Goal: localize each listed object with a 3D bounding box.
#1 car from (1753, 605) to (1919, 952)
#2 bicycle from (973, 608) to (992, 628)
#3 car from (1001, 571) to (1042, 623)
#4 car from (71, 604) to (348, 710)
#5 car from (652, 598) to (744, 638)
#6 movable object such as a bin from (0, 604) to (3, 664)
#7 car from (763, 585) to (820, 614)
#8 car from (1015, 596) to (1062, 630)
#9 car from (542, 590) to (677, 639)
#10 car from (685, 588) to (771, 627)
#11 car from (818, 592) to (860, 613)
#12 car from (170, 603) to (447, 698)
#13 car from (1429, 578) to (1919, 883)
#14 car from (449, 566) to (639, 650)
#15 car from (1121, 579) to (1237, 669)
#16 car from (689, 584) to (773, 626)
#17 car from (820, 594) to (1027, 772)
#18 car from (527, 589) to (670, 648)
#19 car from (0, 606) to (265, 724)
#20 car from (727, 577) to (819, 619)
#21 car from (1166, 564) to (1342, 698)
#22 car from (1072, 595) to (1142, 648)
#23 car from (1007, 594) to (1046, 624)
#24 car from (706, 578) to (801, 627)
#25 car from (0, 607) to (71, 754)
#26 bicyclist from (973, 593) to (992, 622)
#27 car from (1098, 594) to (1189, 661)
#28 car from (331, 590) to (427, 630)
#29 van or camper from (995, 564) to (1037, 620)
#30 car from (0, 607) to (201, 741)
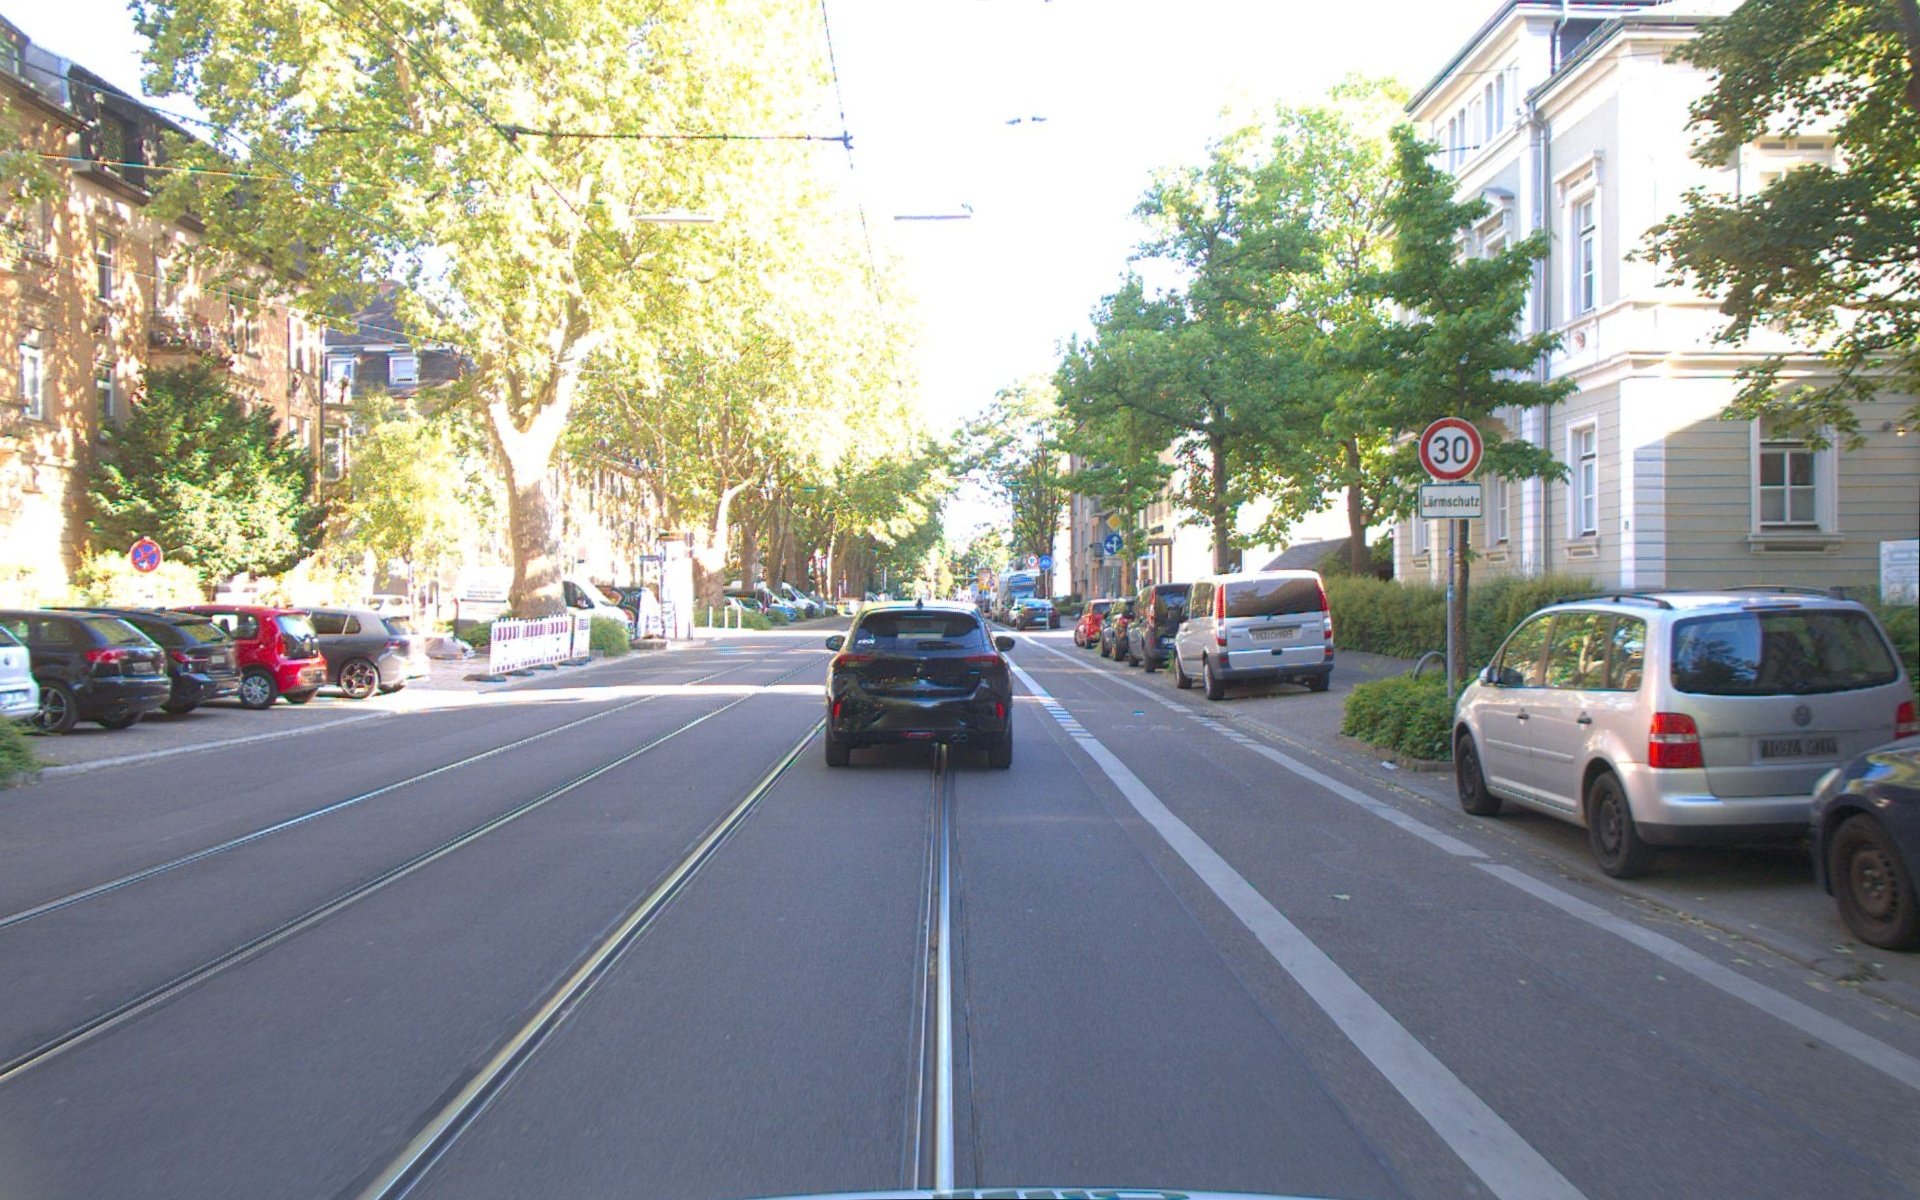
[{"bbox_3d":[5.183,0.770,6.397,1.846,1.492,4.592,-3,0,-2],"label":"car"},{"bbox_3d":[1.224,0.974,90.630,0.948,1.016,2.582,1,0,-2],"label":"bicycle"},{"bbox_3d":[3.446,-0.206,93.926,2.042,2.820,4.697,-1,1,-1],"label":"car"},{"bbox_3d":[-11.256,0.833,24.978,3.349,1.490,1.760,1,0,1],"label":"car"},{"bbox_3d":[-12.539,0.857,79.236,4.220,1.621,1.779,-4,0,-8],"label":"car"},{"bbox_3d":[-18.313,0.637,30.728,0.708,1.129,0.560,1,0,1],"label":"movable object such as a bin"},{"bbox_3d":[-12.158,-0.008,119.197,3.914,2.049,1.996,1,0,-10],"label":"car"},{"bbox_3d":[3.610,0.575,76.537,1.846,1.459,4.529,-3,0,-1],"label":"car"},{"bbox_3d":[-11.787,0.480,55.840,4.214,1.635,1.925,0,0,-3],"label":"car"},{"bbox_3d":[-11.780,0.387,84.104,4.220,1.703,1.779,-4,0,-8],"label":"car"},{"bbox_3d":[-12.340,0.248,168.517,3.902,2.049,2.001,1,0,6],"label":"car"},{"bbox_3d":[-10.884,0.825,27.830,3.906,1.490,1.854,1,0,-1],"label":"car"},{"bbox_3d":[4.757,0.714,11.236,1.846,1.595,4.241,-3,0,-1],"label":"car"},{"bbox_3d":[-11.816,0.235,47.302,4.933,2.299,2.084,1,0,-4],"label":"car"},{"bbox_3d":[4.675,0.482,35.893,1.847,1.797,4.677,-1,0,-1],"label":"car"},{"bbox_3d":[-11.967,0.272,86.431,4.220,1.872,1.779,-4,0,-8],"label":"car"},{"bbox_3d":[-0.321,0.699,15.902,1.727,1.486,3.950,1,0,0],"label":"car"},{"bbox_3d":[-11.594,0.582,53.208,4.214,1.832,1.925,0,0,-3],"label":"car"},{"bbox_3d":[-11.845,0.850,22.491,3.998,1.490,1.821,1,0,1],"label":"car"},{"bbox_3d":[-11.934,-0.119,105.843,5.521,2.638,2.197,1,0,3],"label":"car"},{"bbox_3d":[4.646,0.459,26.886,1.846,1.883,4.966,-3,0,-1],"label":"car"},{"bbox_3d":[4.444,0.631,50.601,1.668,1.448,3.978,-4,0,-1],"label":"car"},{"bbox_3d":[3.466,0.473,86.721,1.767,1.459,3.999,-1,-1,-1],"label":"car"},{"bbox_3d":[-11.585,0.137,93.132,4.934,2.415,2.081,-4,0,0],"label":"car"},{"bbox_3d":[-11.478,0.815,17.366,3.349,1.490,1.697,1,0,1],"label":"car"},{"bbox_3d":[1.226,0.409,90.612,0.939,1.525,1.093,1,0,-2],"label":"bicyclist"},{"bbox_3d":[4.564,0.653,41.589,1.677,1.540,4.035,-2,0,-2],"label":"car"},{"bbox_3d":[-24.751,0.424,70.671,1.816,1.620,4.744,1,0,9],"label":"car"},{"bbox_3d":[3.360,-0.491,100.490,2.208,3.272,5.530,-1,0,-1],"label":"van or camper"},{"bbox_3d":[-11.221,0.841,19.738,3.527,1.490,1.687,1,0,1],"label":"car"}]
